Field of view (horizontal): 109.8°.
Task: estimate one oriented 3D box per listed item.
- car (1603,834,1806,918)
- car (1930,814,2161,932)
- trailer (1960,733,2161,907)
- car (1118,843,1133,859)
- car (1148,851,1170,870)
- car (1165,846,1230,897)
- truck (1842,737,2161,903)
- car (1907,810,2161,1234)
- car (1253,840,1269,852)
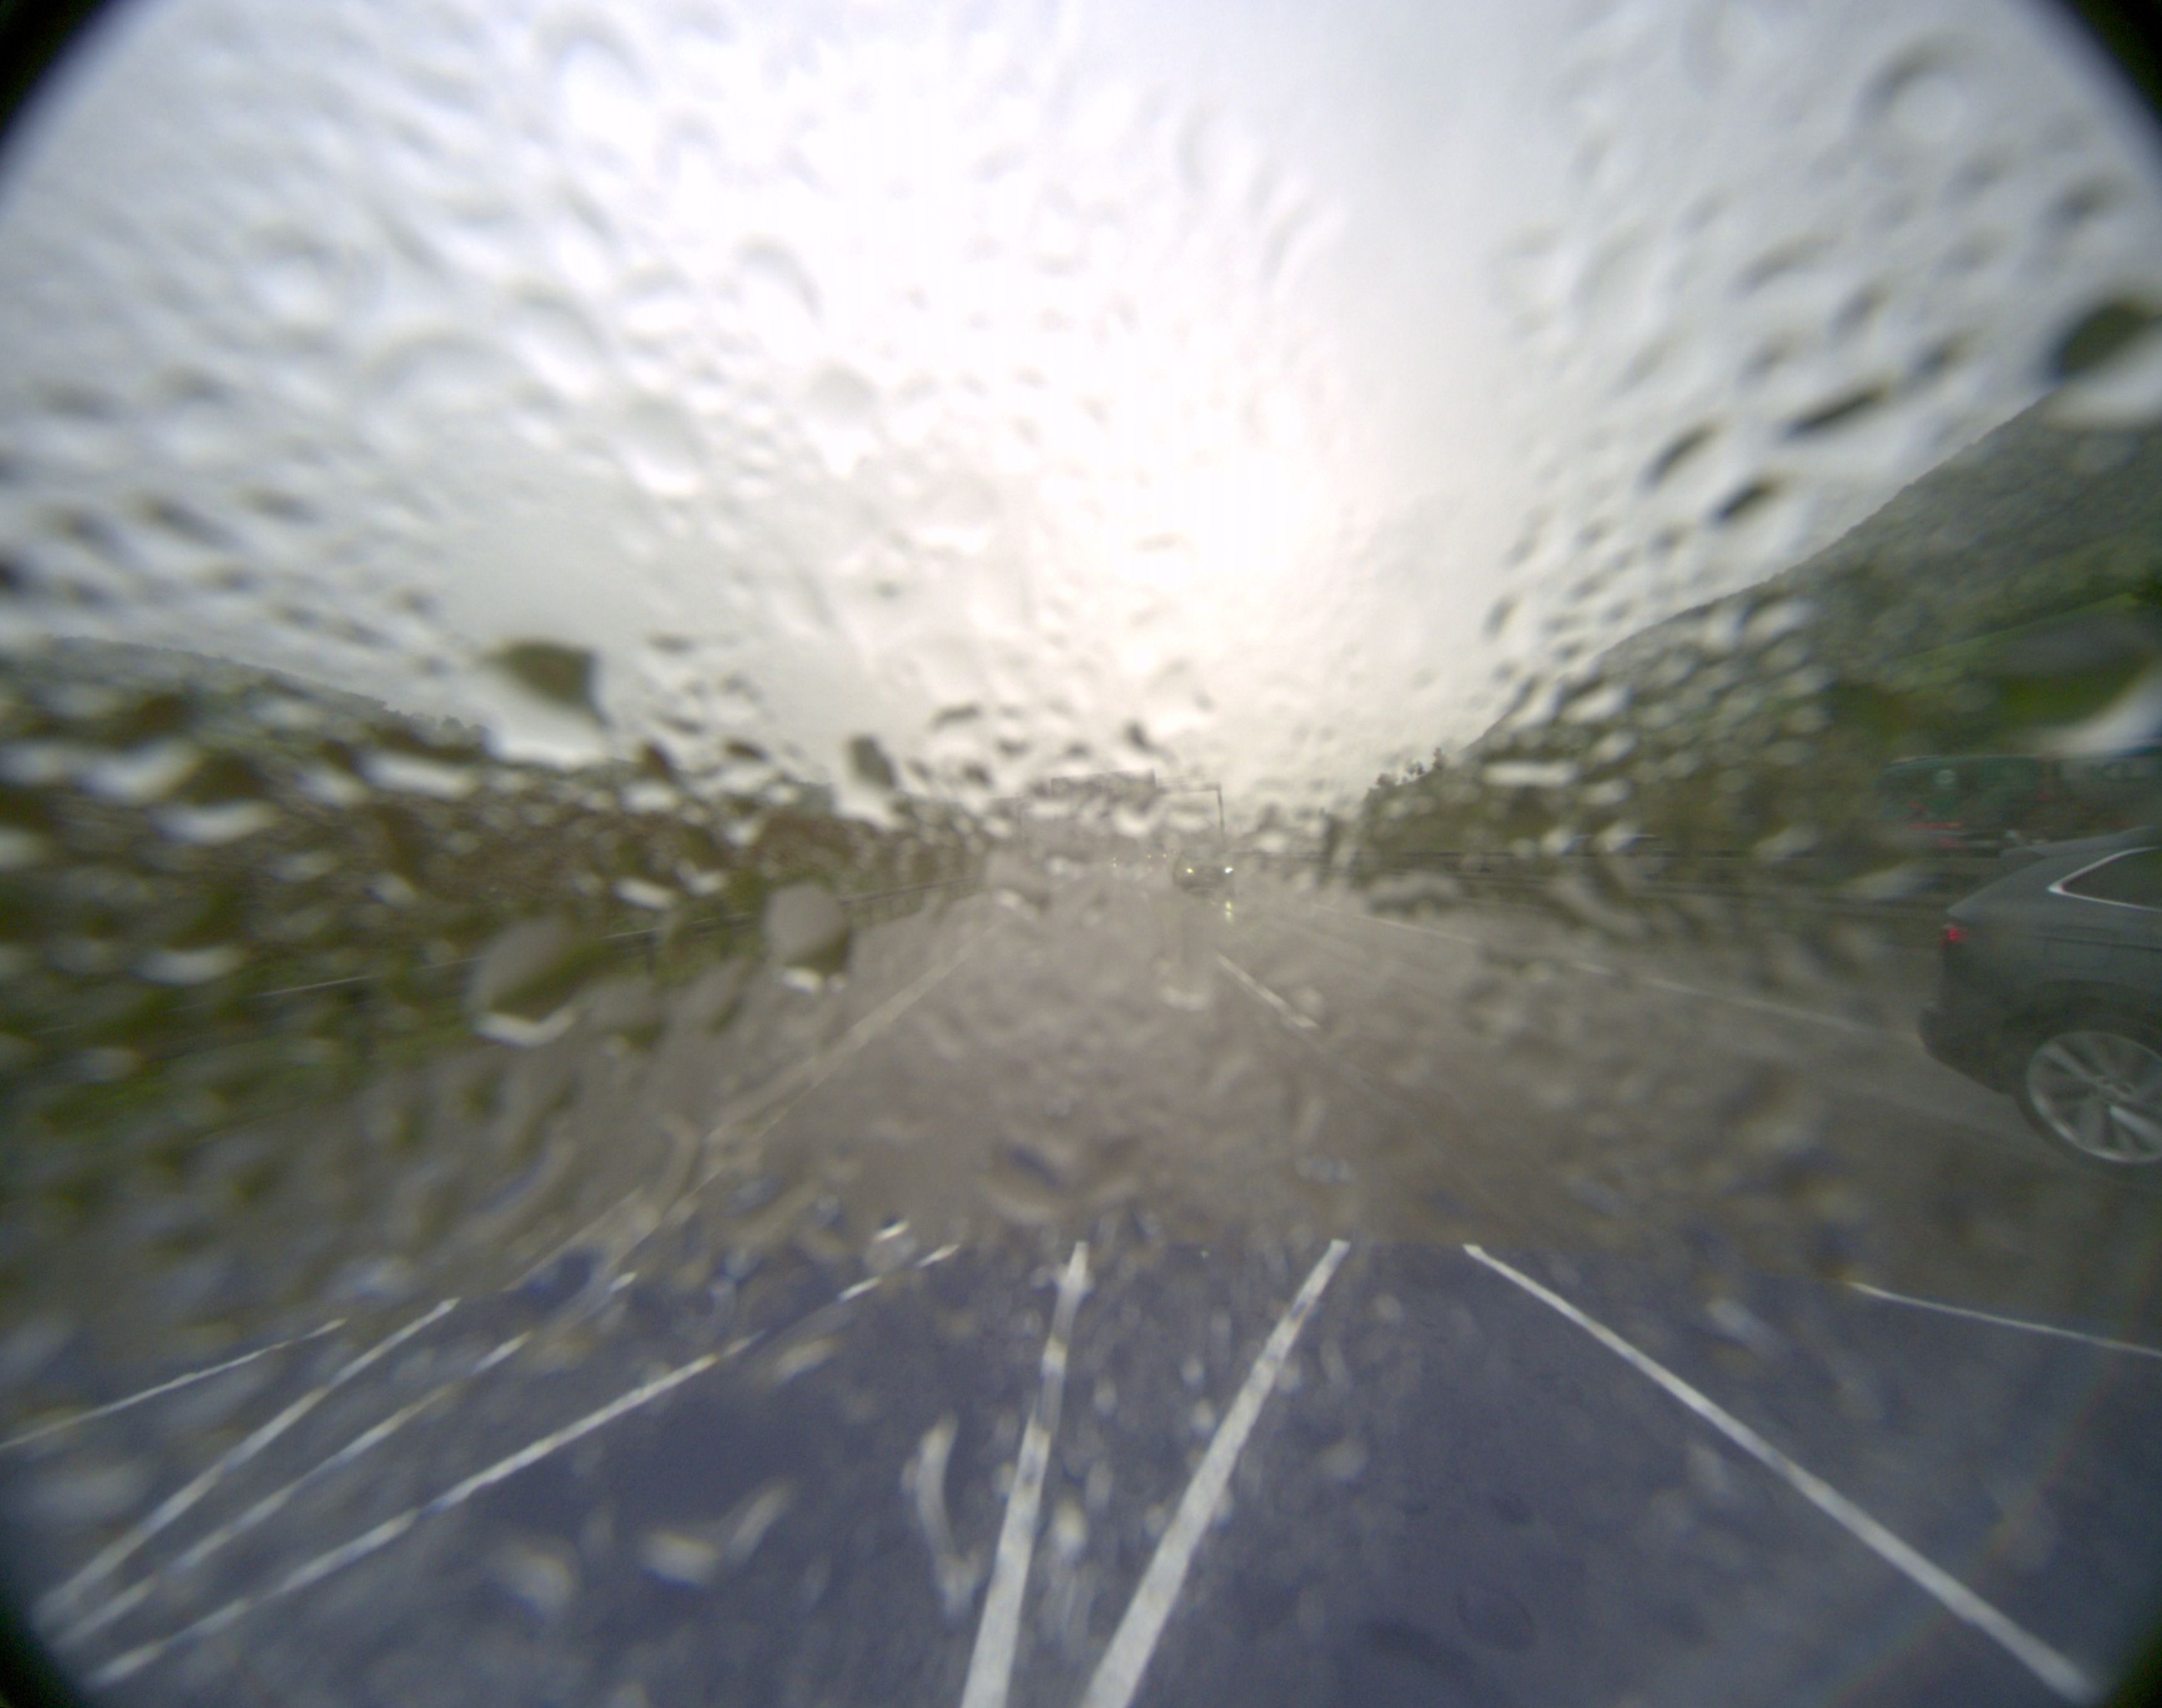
[{"bbox_3d":[15.553,0.487,19.270,1.864,1.835,4.000,-2,0,1],"label":"car"},{"bbox_3d":[19.508,0.287,14.571,1.918,2.002,3.999,-3,0,0],"label":"car"},{"bbox_3d":[23.018,-0.725,14.041,2.726,3.470,9.395,-2,0,1],"label":"trailer"},{"bbox_3d":[5.972,-0.402,101.451,1.835,2.002,3.938,-4,1,3],"label":"car"},{"bbox_3d":[8.869,0.724,87.015,1.987,2.002,3.933,-2,0,-1],"label":"car"},{"bbox_3d":[4.370,0.615,29.061,1.814,1.692,3.748,-4,1,0],"label":"car"},{"bbox_3d":[23.087,-0.766,19.011,2.722,3.522,5.310,-2,0,1],"label":"truck"},{"bbox_3d":[5.236,0.673,1.454,1.998,1.673,4.908,-1,1,1],"label":"car"},{"bbox_3d":[26.797,-1.175,113.292,1.683,1.783,3.683,-2,0,3],"label":"car"}]
